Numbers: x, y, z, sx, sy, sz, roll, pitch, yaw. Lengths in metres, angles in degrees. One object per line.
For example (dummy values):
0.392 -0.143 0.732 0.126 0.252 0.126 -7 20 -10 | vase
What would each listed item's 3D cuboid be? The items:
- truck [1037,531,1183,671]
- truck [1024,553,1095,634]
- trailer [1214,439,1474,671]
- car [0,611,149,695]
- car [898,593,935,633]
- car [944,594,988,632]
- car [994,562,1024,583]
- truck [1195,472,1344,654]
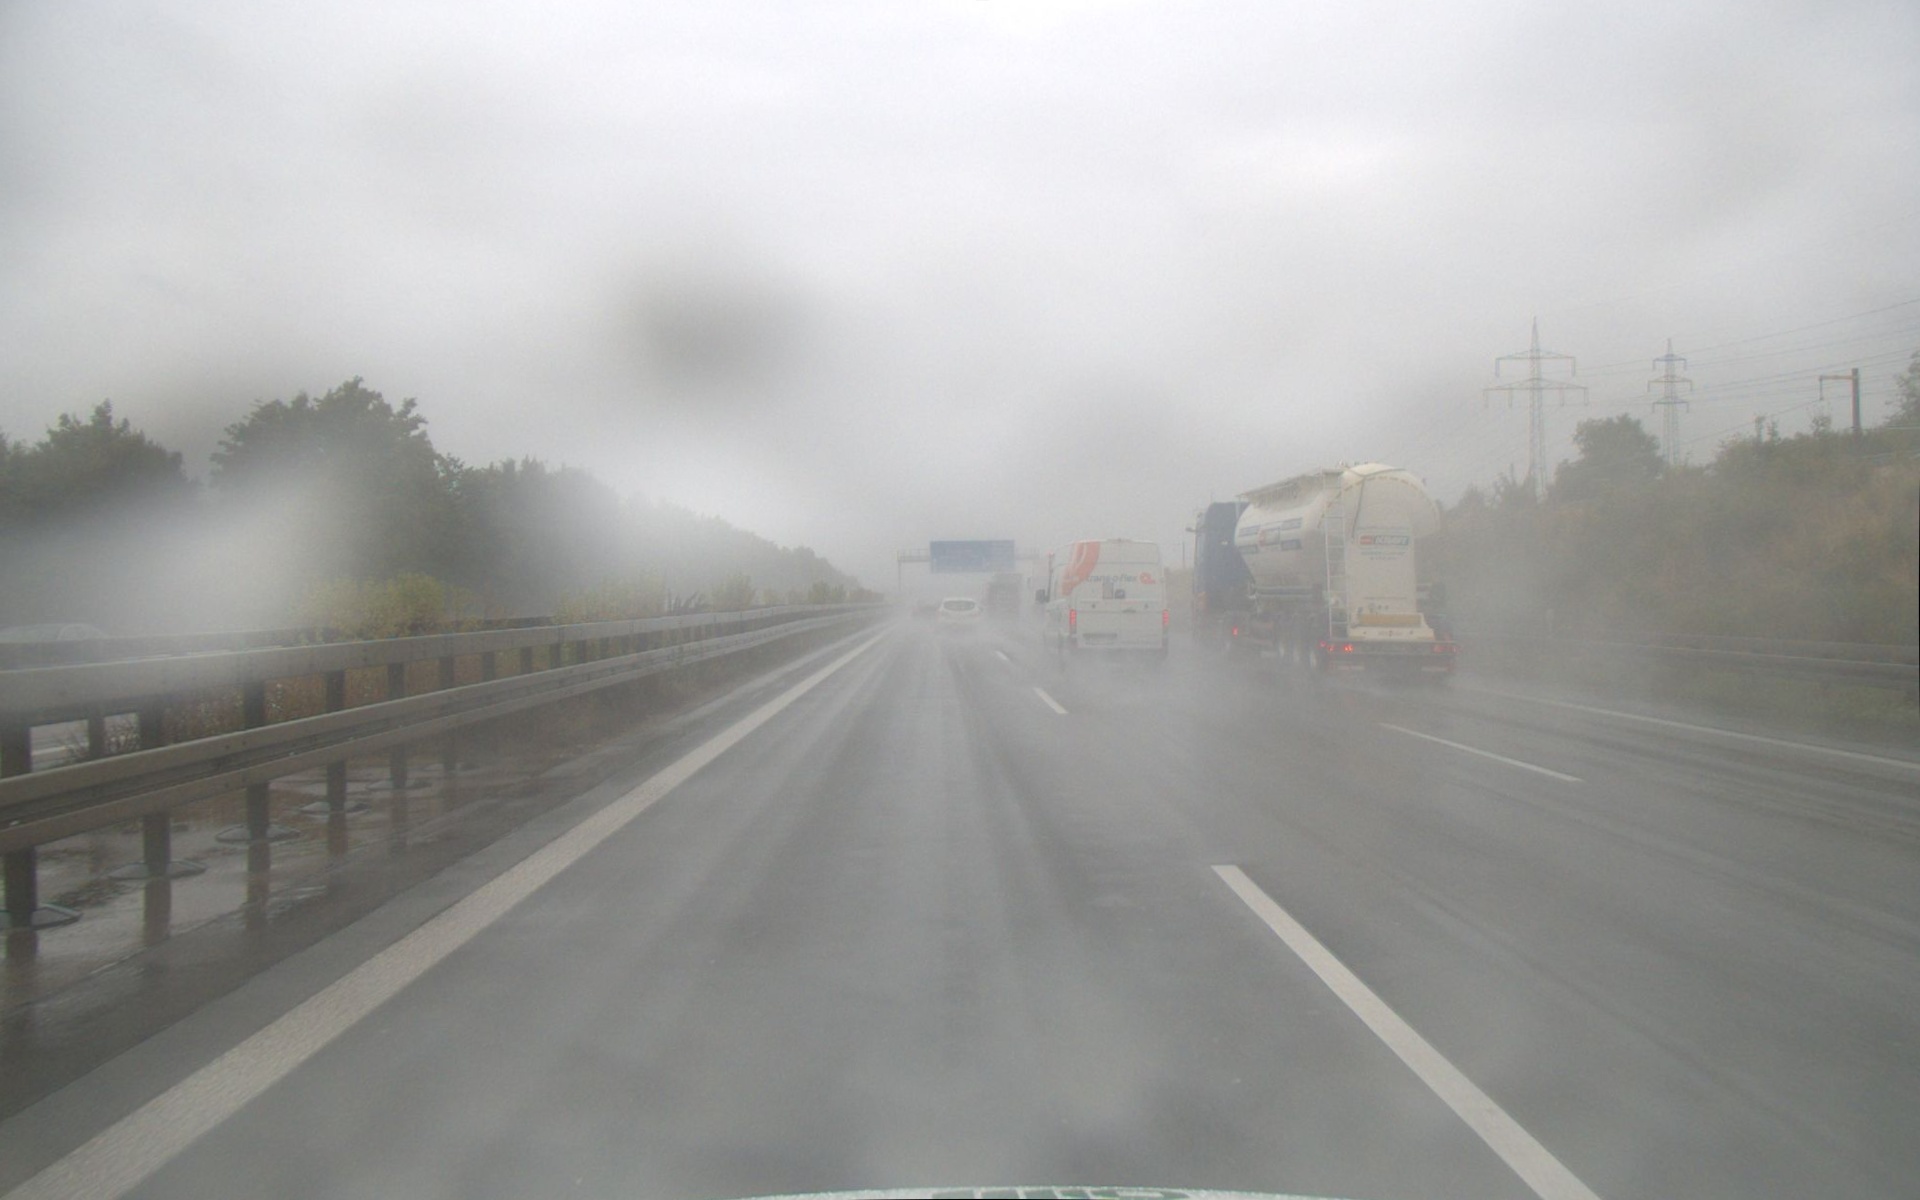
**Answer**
2.903 -0.003 33.362 2.370 2.536 5.559 1 0 0 | truck
6.110 -0.318 104.578 2.978 4.668 16.343 1 -1 -2 | truck
7.477 -0.815 34.044 2.447 3.950 11.063 1 0 -2 | trailer
-18.851 1.040 34.267 1.953 1.539 4.448 1 0 -1 | car
-2.083 0.622 80.145 1.667 1.850 3.861 1 0 0 | car
0.193 0.472 62.671 1.573 1.361 3.847 1 0 -1 | car
4.834 -2.712 164.573 2.732 2.049 4.992 1 0 -1 | car
7.324 -0.857 39.765 2.446 4.053 5.074 1 0 -2 | truck
